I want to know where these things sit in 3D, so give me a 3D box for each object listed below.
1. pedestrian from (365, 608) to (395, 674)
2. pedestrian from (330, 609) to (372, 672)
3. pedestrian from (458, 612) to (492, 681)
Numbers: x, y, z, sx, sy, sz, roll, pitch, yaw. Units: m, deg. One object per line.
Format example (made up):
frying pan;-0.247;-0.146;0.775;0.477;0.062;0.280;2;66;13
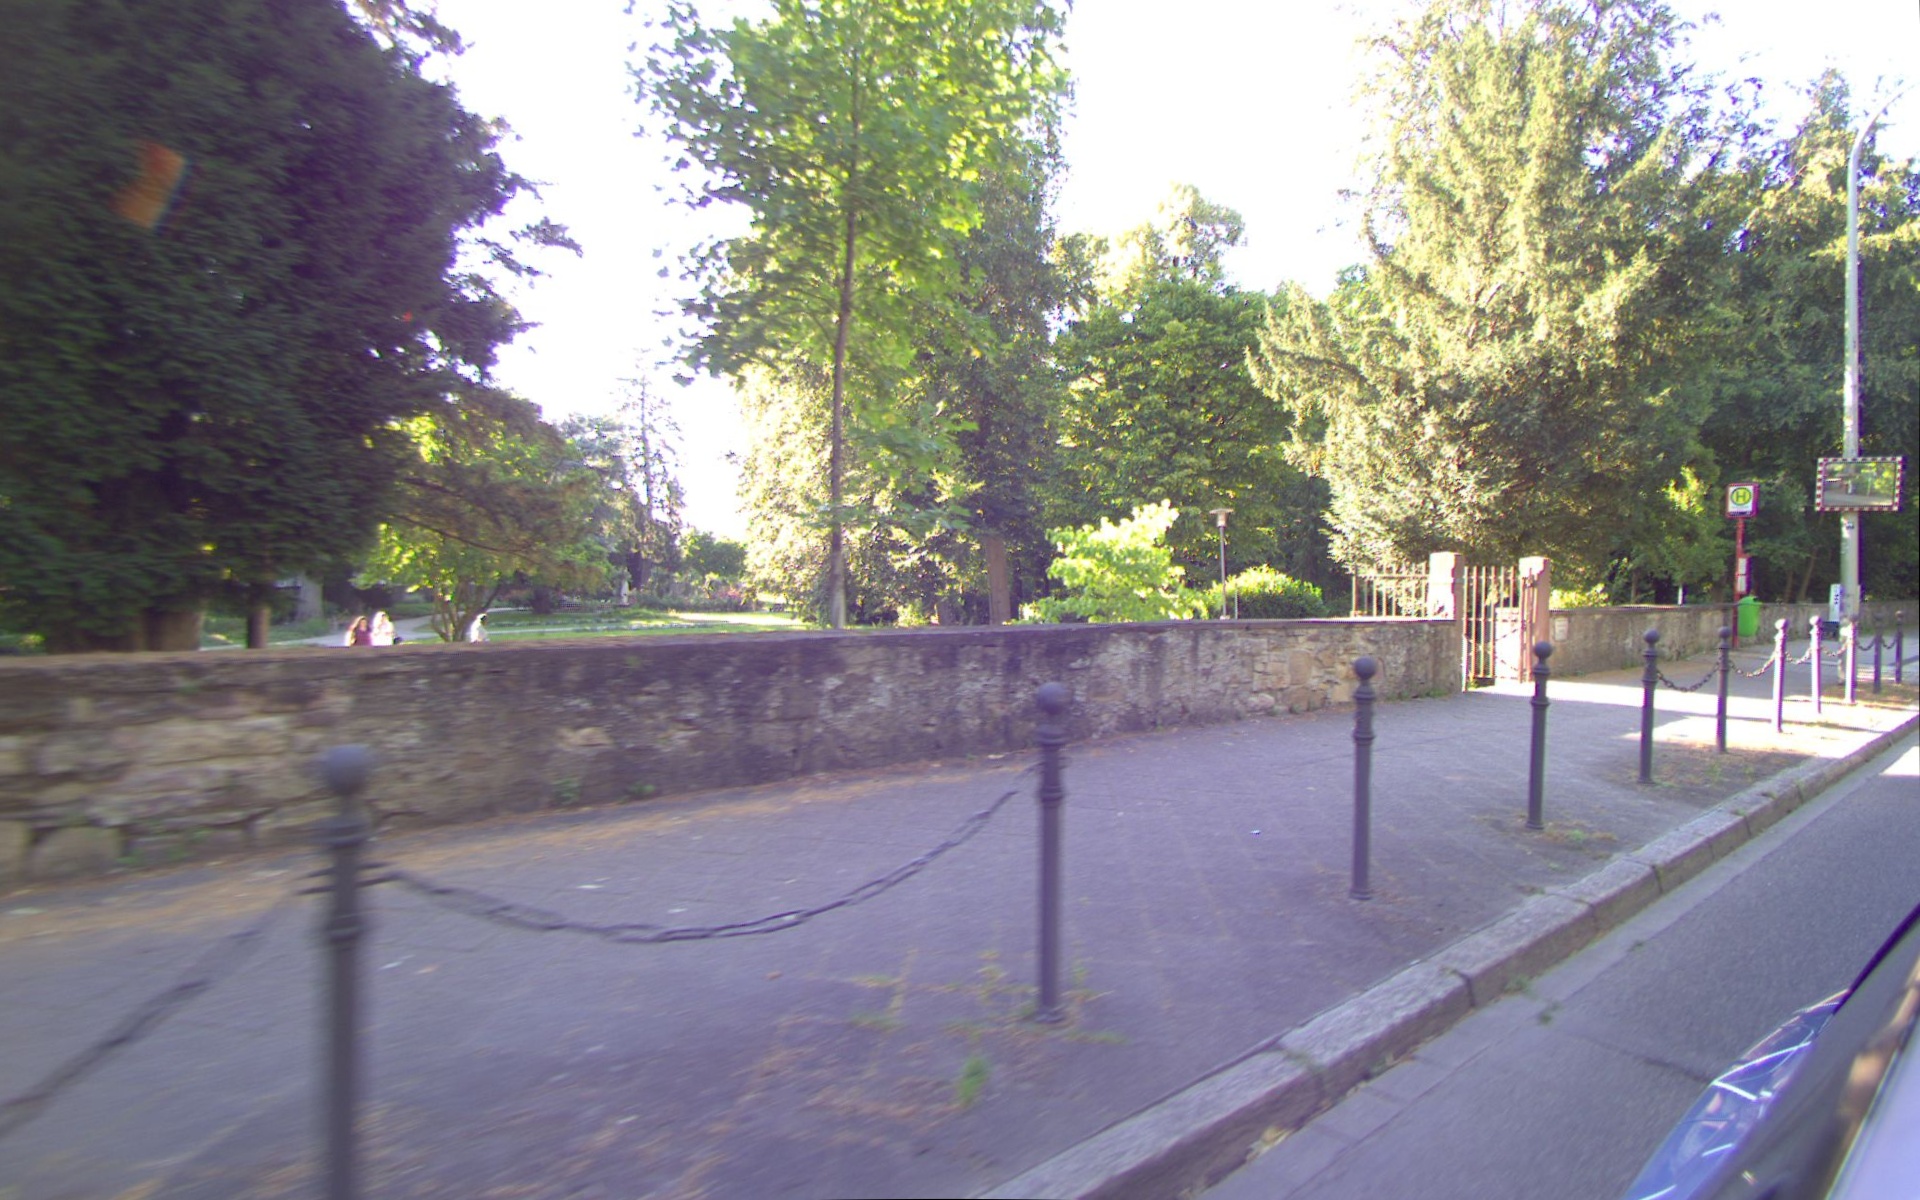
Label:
pedestrian;-15.799;1.101;27.570;0.587;1.751;0.590;-1;-1;-40
pedestrian;-16.124;1.068;26.808;0.559;1.639;0.755;-1;-1;20
pedestrian;-12.073;1.143;25.185;0.625;1.661;0.616;-1;-1;-38
